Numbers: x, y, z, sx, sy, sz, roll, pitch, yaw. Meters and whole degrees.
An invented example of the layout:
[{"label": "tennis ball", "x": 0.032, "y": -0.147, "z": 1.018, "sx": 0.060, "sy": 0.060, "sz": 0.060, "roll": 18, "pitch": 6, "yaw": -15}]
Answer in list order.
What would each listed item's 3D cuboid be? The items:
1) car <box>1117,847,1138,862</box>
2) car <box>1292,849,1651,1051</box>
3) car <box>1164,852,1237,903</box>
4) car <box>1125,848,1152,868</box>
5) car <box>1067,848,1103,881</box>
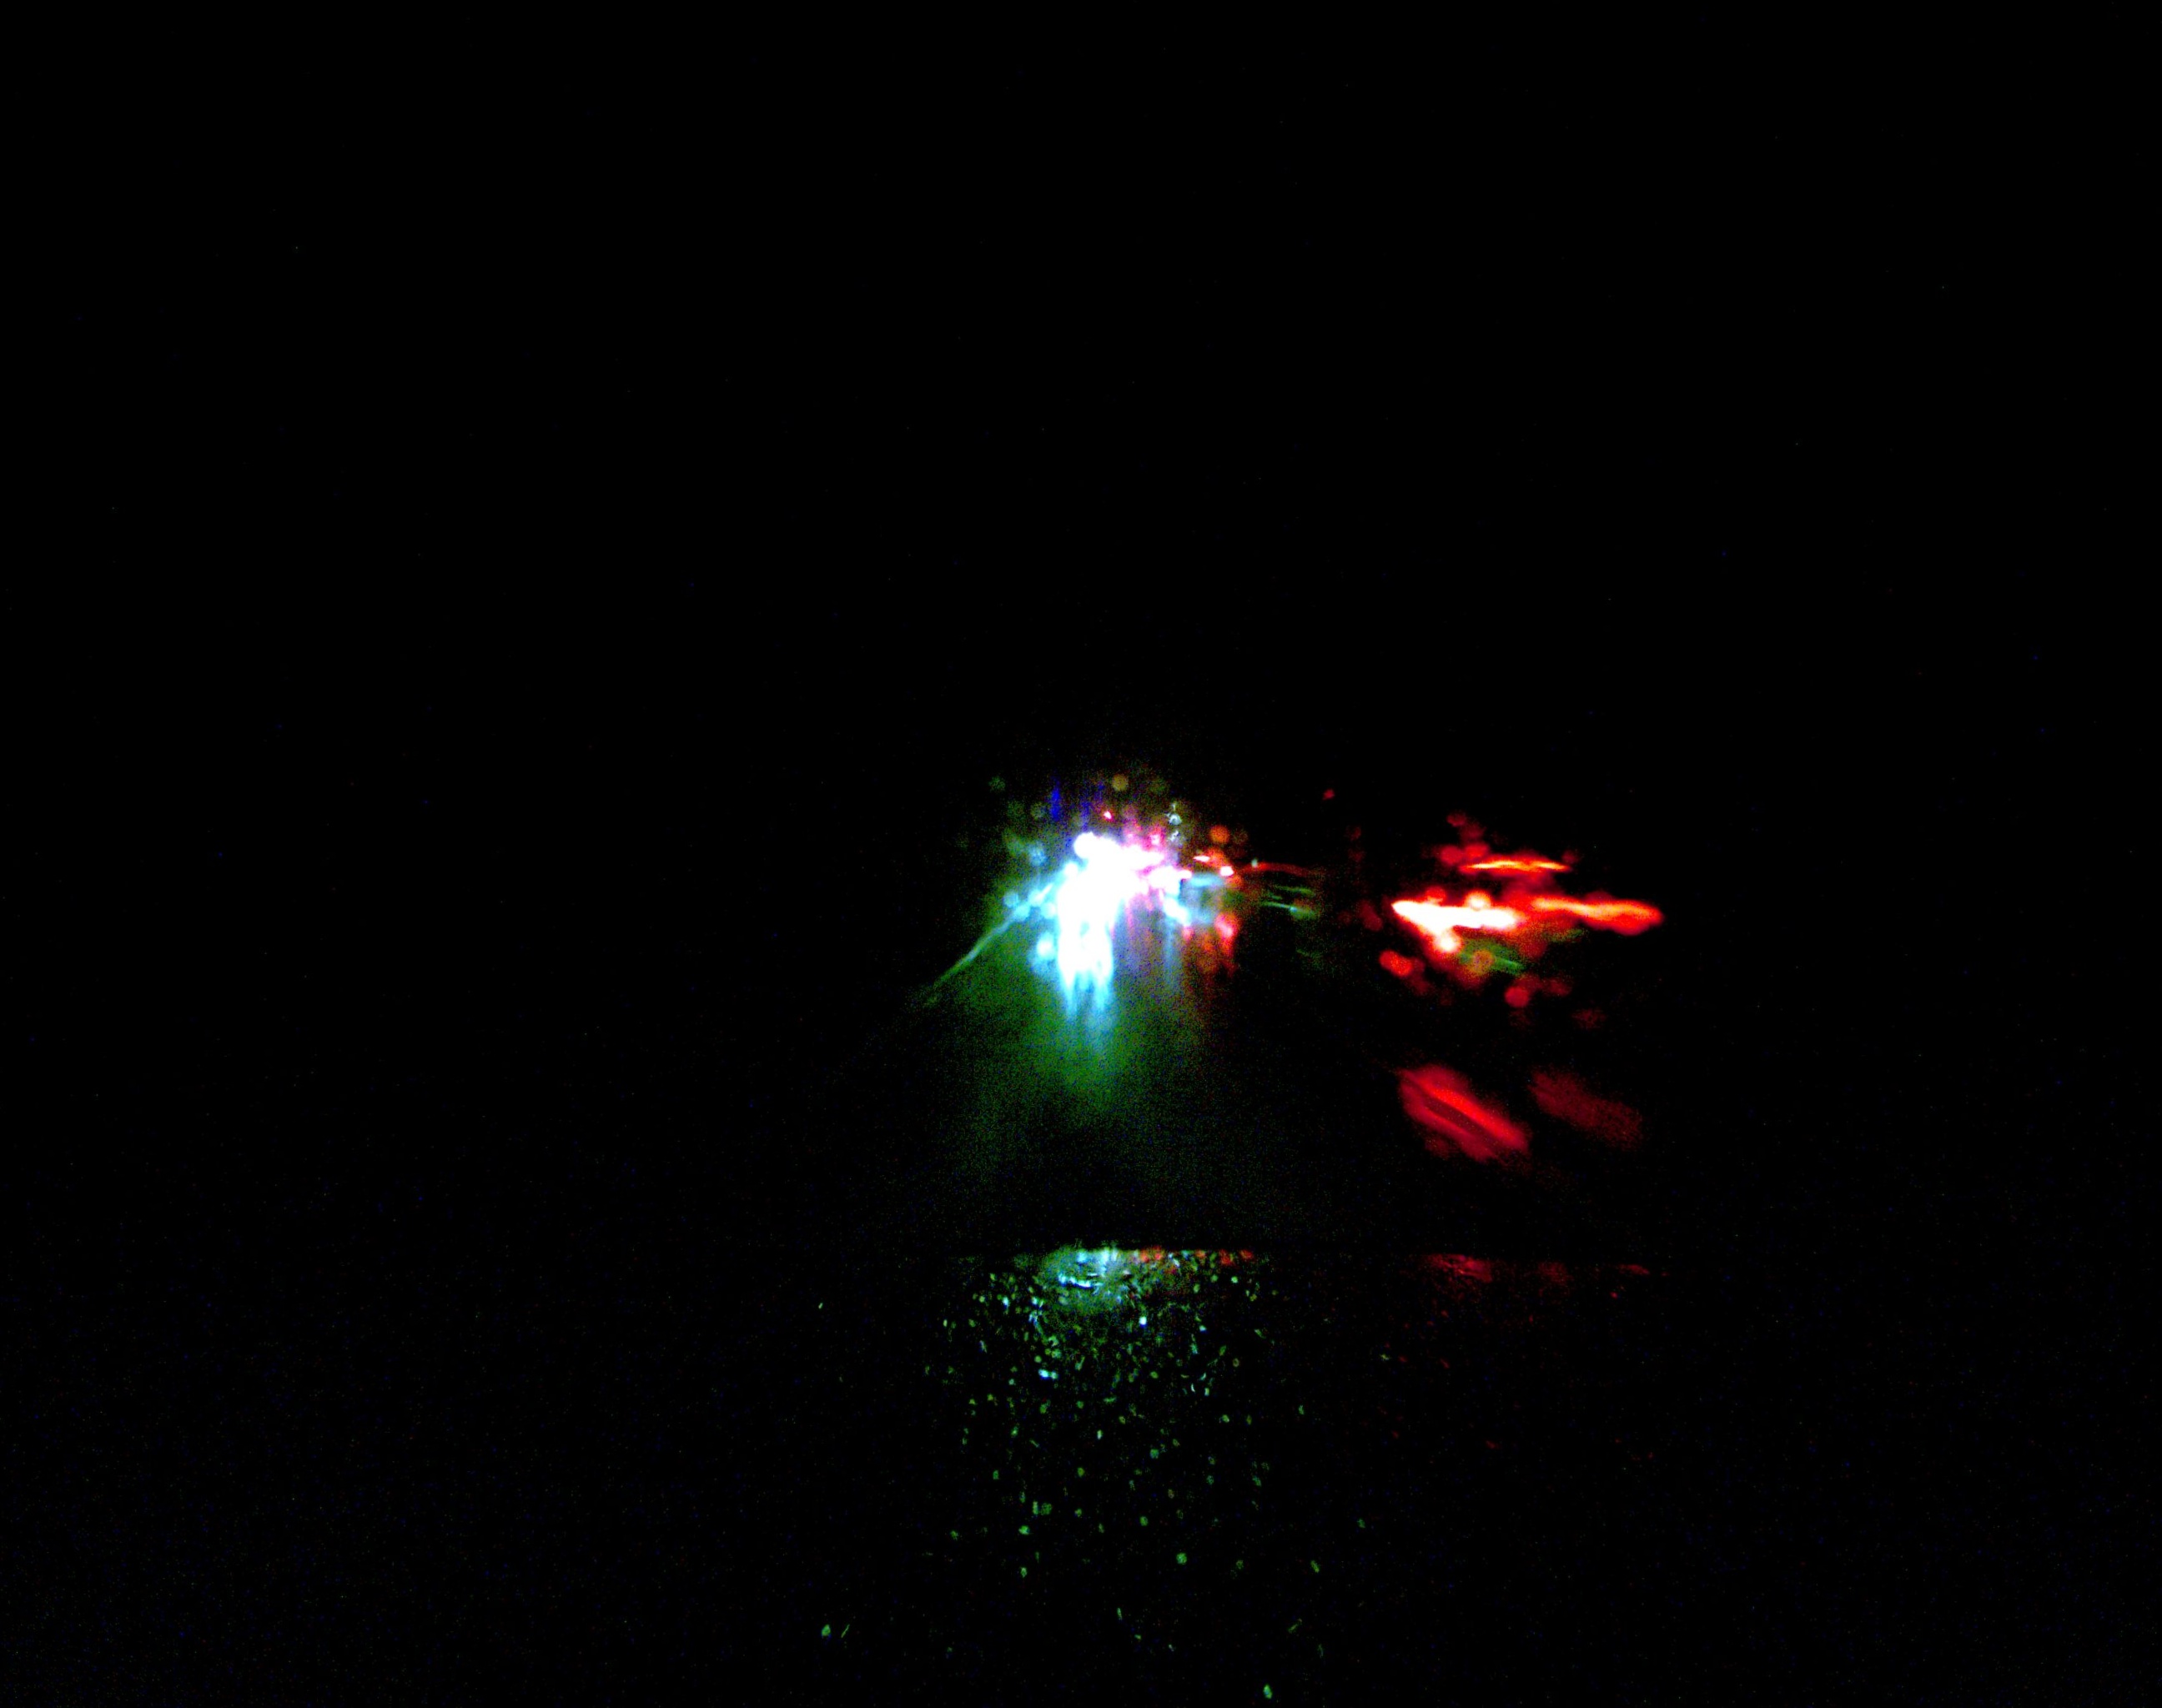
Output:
[{"label": "car", "x": 4.485, "y": 0.023, "z": 74.232, "sx": 1.790, "sy": 1.380, "sz": 3.776, "roll": -2, "pitch": 1, "yaw": 1}, {"label": "car", "x": 3.907, "y": 0.794, "z": 8.617, "sx": 1.790, "sy": 1.623, "sz": 4.425, "roll": -2, "pitch": 1, "yaw": 0}, {"label": "car", "x": 3.833, "y": 0.698, "z": 24.921, "sx": 1.790, "sy": 1.459, "sz": 3.776, "roll": -2, "pitch": 1, "yaw": 1}, {"label": "car", "x": 4.400, "y": 0.301, "z": 58.558, "sx": 1.790, "sy": 1.380, "sz": 3.776, "roll": -2, "pitch": 1, "yaw": 1}, {"label": "car", "x": 0.231, "y": 0.561, "z": 45.635, "sx": 1.998, "sy": 1.805, "sz": 3.999, "roll": -2, "pitch": 1, "yaw": 1}]
